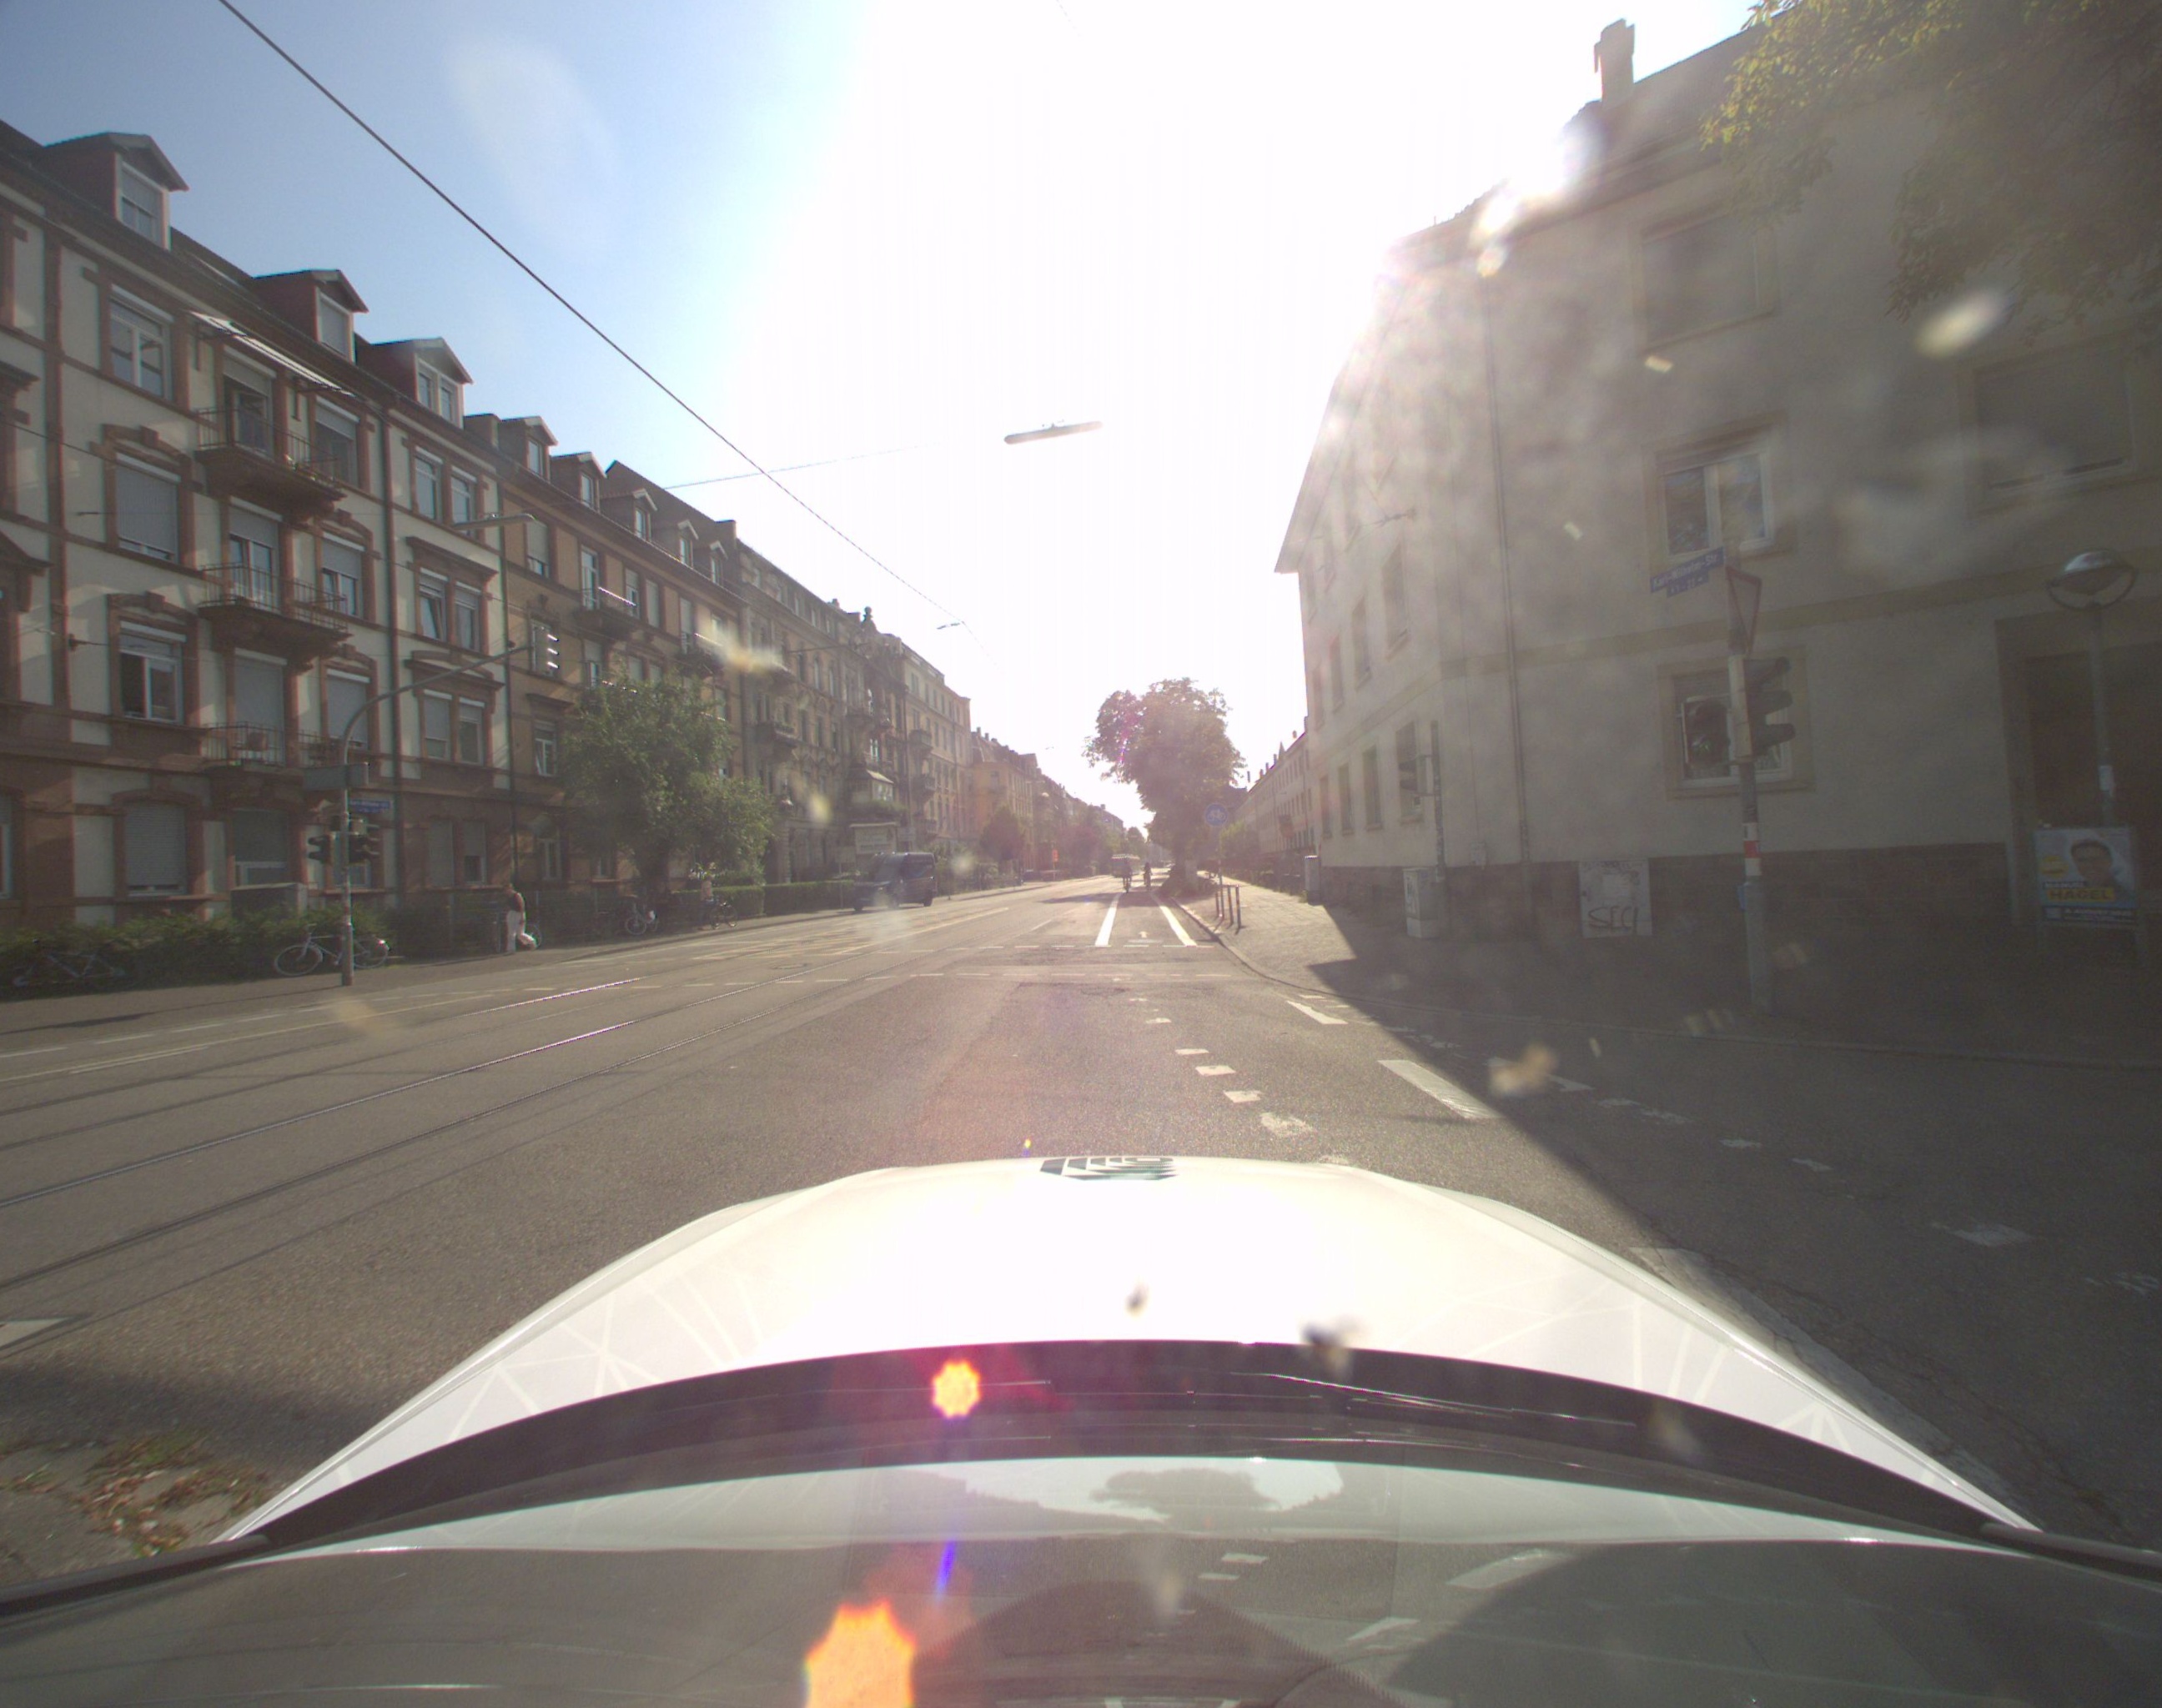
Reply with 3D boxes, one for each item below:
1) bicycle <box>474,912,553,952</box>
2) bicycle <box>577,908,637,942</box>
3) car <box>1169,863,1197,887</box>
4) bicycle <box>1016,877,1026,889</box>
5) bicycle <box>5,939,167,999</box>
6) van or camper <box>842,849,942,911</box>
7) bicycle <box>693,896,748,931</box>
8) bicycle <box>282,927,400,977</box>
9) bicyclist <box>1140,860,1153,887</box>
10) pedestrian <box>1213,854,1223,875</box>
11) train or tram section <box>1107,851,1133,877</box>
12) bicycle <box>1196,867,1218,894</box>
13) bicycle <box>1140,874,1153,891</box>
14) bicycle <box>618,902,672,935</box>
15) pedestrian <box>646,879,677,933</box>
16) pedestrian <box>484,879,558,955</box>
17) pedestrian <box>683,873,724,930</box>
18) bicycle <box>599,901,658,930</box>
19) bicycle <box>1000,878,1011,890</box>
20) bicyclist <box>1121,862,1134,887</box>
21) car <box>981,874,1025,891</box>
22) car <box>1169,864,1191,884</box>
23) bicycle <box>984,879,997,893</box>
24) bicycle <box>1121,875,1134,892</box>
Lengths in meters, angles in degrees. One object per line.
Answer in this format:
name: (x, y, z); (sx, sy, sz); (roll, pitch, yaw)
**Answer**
bicycle: (-14.756, 2.020, 21.222); (0.523, 0.860, 1.833); (-3, -1, 10)
bicycle: (-13.989, 2.077, 24.070); (0.523, 0.860, 1.707); (-3, -1, 10)
car: (7.588, 1.543, 60.442); (1.634, 1.540, 3.855); (-5, -2, 12)
bicycle: (-5.889, 2.838, 79.977); (0.541, 1.058, 1.844); (1, -1, 8)
bicycle: (-18.292, 2.095, 15.040); (0.521, 0.860, 1.839); (-4, -1, 45)
van or camper: (-8.942, 1.204, 39.258); (2.036, 2.644, 6.111); (-4, -2, 14)
bicycle: (-11.973, 1.945, 27.124); (0.615, 1.007, 2.154); (-3, -1, 6)
bicycle: (-15.974, 2.085, 17.615); (0.521, 0.860, 1.839); (-4, -1, 45)
bicyclist: (3.663, 1.076, 45.396); (0.651, 1.474, 0.910); (-1, -2, 6)
pedestrian: (11.598, 0.863, 68.972); (0.747, 1.749, 0.881); (-3, -1, 13)
train or tram section: (6.068, 1.556, 124.005); (2.720, 3.506, 15.458); (-3, -1, 6)
bicycle: (5.678, 1.179, 36.733); (0.768, 1.104, 2.336); (-3, -1, 4)
bicycle: (3.666, 1.556, 45.400); (0.651, 0.909, 1.778); (-1, -1, 6)
bicycle: (-13.760, 2.022, 25.754); (0.523, 0.927, 1.707); (-3, -1, 10)
pedestrian: (-13.548, 1.652, 26.292); (0.636, 1.678, 0.632); (-3, -1, -5)
pedestrian: (-13.941, 1.548, 20.310); (0.899, 1.766, 1.189); (-3, -1, 10)
pedestrian: (-12.467, 1.538, 26.922); (0.724, 1.806, 1.094); (-3, -1, 5)
bicycle: (-14.945, 2.025, 26.895); (1.688, 0.860, 0.529); (-3, -1, 7)
bicycle: (-6.718, 2.679, 72.990); (0.541, 1.058, 1.844); (1, -1, 8)
bicyclist: (2.610, 1.149, 45.826); (0.623, 1.401, 0.931); (-1, -2, 6)
car: (-7.986, 2.919, 83.688); (4.116, 1.543, 2.067); (-2, -2, 5)
car: (8.274, 1.659, 68.024); (1.636, 1.448, 4.254); (-5, -2, 7)
bicycle: (-7.437, 2.620, 67.088); (0.603, 1.058, 1.844); (1, -1, 8)
bicycle: (2.601, 1.637, 45.801); (0.623, 0.909, 1.527); (-1, -1, 6)
